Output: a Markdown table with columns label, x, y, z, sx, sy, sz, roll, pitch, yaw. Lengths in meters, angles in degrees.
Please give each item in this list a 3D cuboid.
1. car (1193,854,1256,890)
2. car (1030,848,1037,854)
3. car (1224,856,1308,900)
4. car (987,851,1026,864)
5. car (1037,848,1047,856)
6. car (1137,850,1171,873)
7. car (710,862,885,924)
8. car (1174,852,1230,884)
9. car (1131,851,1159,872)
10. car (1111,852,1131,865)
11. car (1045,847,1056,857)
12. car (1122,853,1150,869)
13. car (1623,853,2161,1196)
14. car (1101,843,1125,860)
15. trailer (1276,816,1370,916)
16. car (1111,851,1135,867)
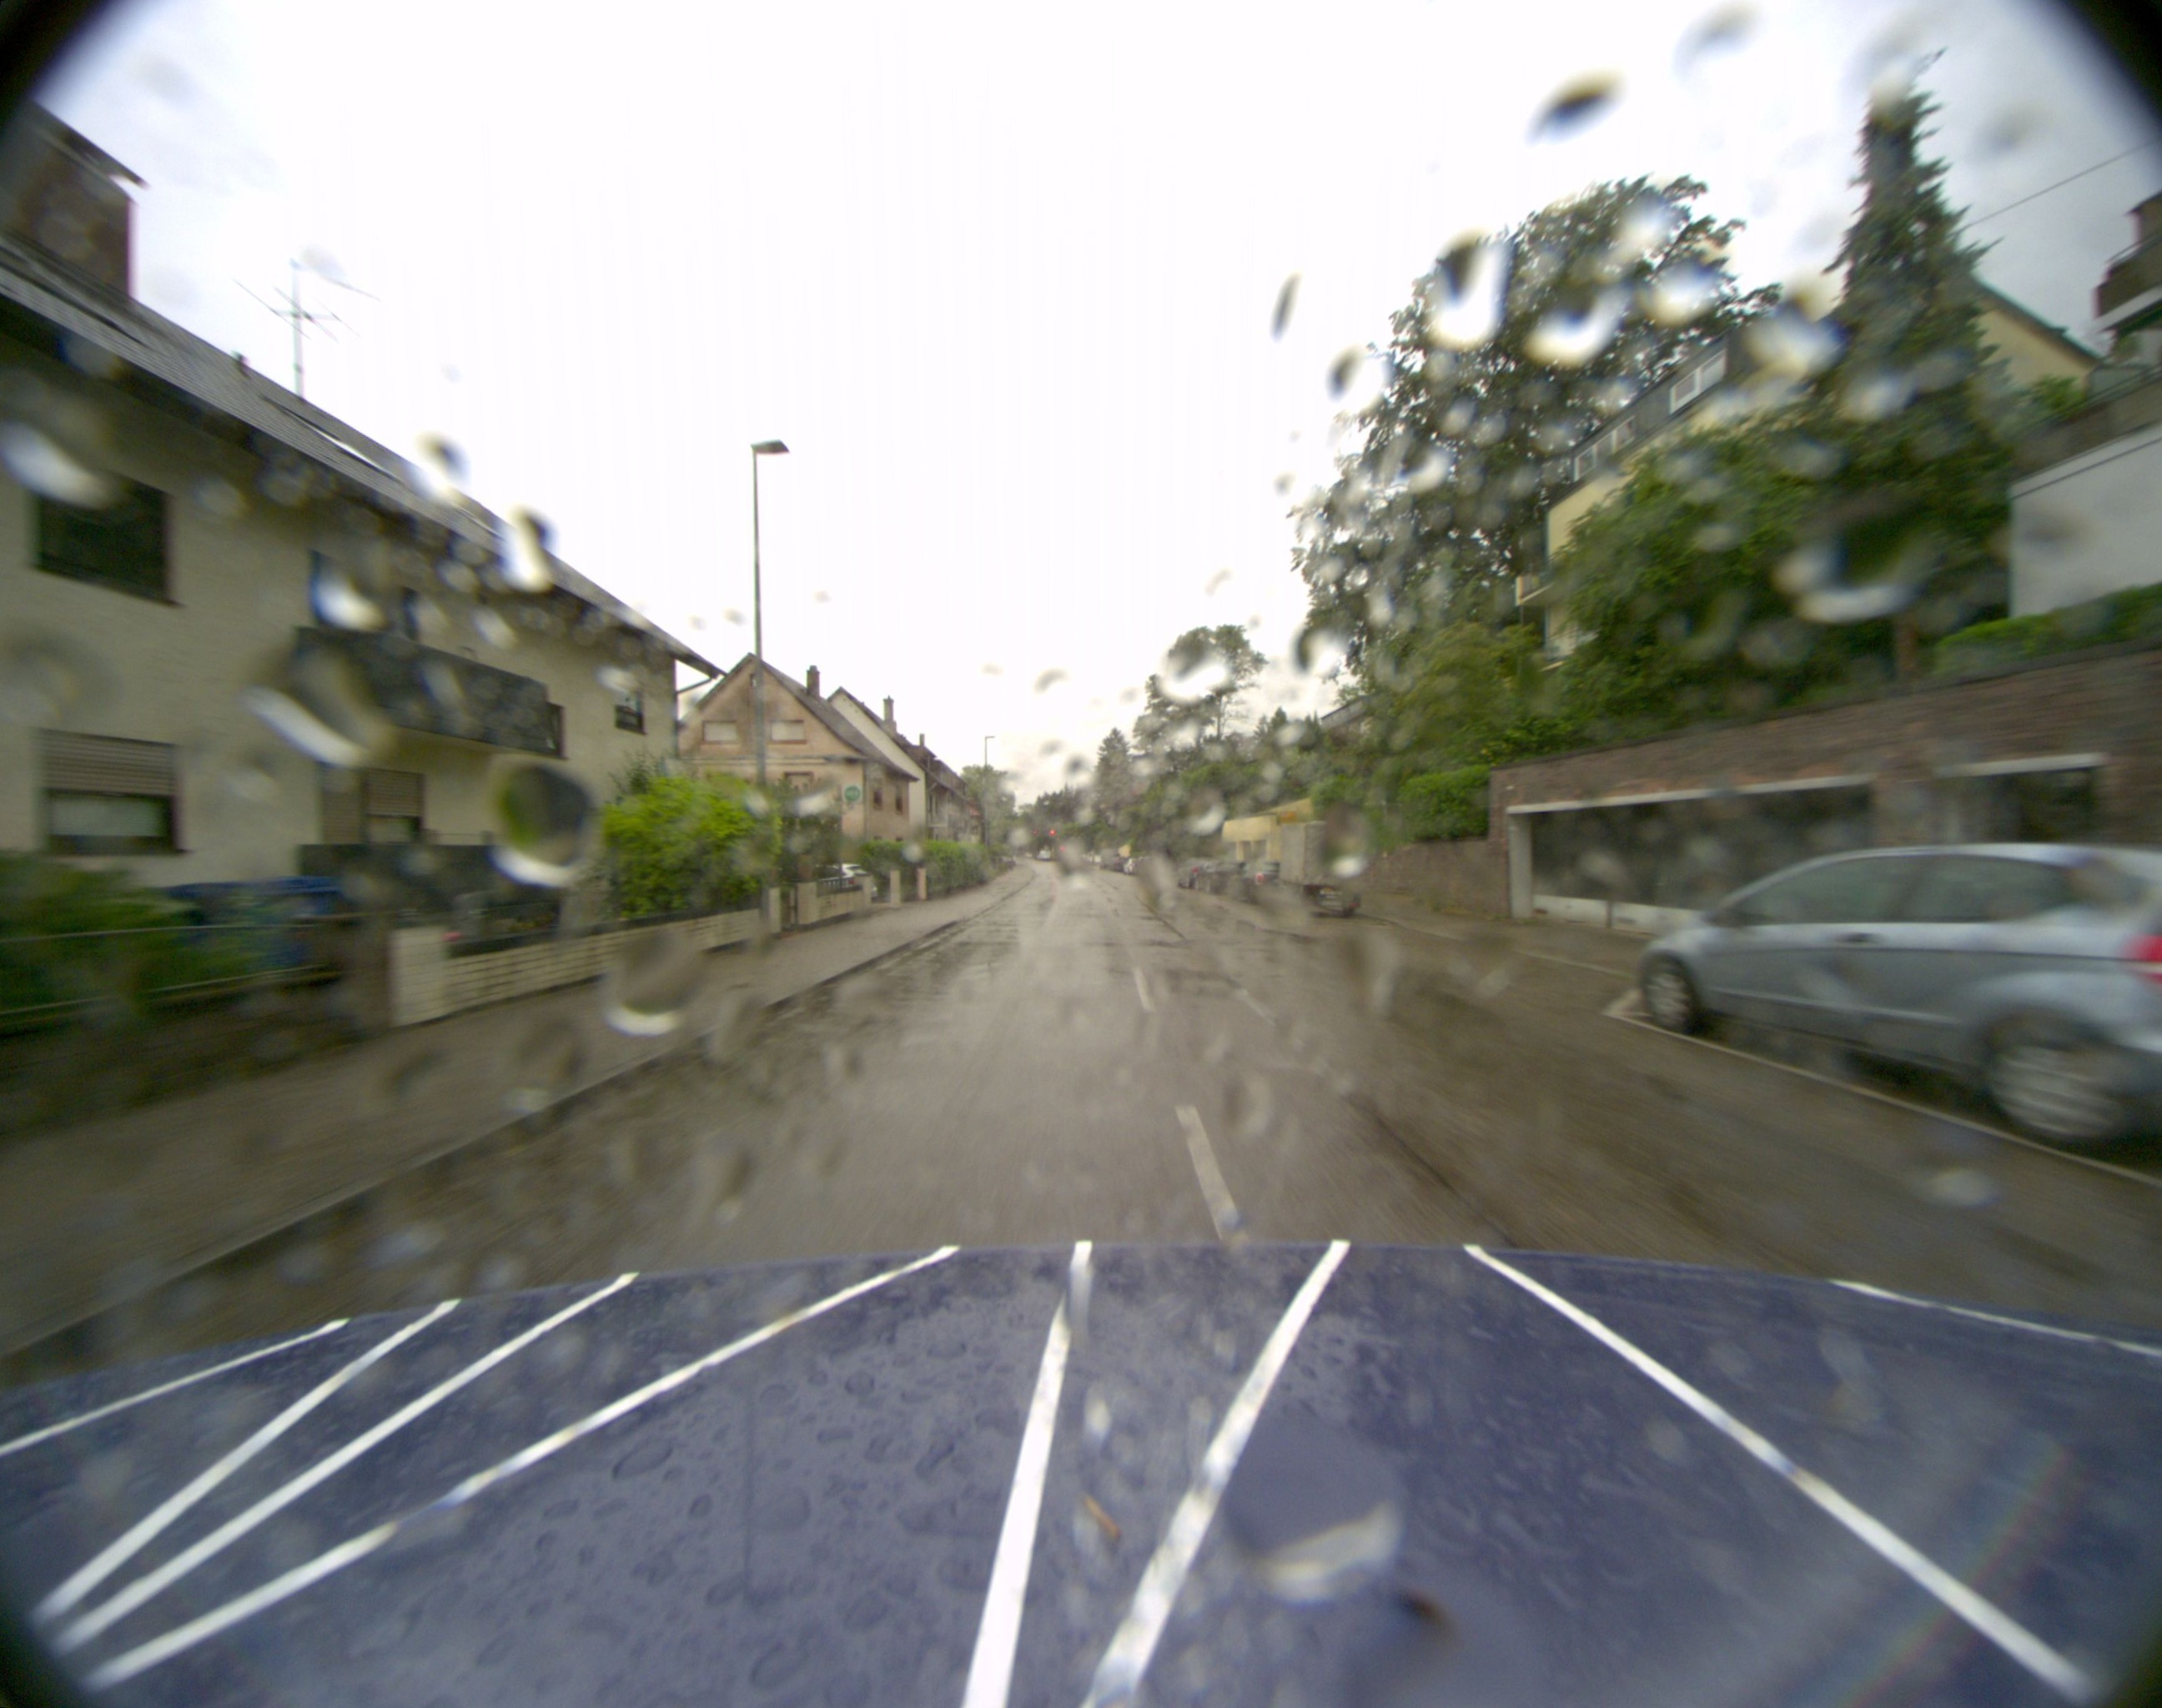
| label | x | y | z | sx | sy | sz | roll | pitch | yaw |
| --- | --- | --- | --- | --- | --- | --- | --- | --- | --- |
| car | 5.958 | 0.717 | 31.985 | 1.790 | 1.407 | 4.216 | 0 | 0 | -1 |
| car | -14.846 | -0.927 | 237.186 | 1.926 | 1.747 | 3.997 | -3 | 1 | -7 |
| car | 6.068 | 0.756 | 25.307 | 1.813 | 1.341 | 3.775 | 0 | 0 | -1 |
| car | -9.031 | 0.433 | 92.192 | 4.371 | 1.357 | 1.922 | -1 | 2 | 29 |
| car | -10.543 | -0.601 | 204.133 | 2.164 | 1.944 | 4.912 | 1 | 1 | -8 |
| car | 5.308 | 0.516 | 55.786 | 1.879 | 1.616 | 4.592 | 2 | 0 | -2 |
| car | -7.911 | 1.071 | 21.508 | 4.232 | 1.437 | 1.702 | -3 | 0 | -2 |
| car | 5.902 | 0.650 | 37.646 | 1.790 | 1.446 | 4.754 | 1 | 0 | -3 |
| car | 5.112 | 0.563 | 61.113 | 1.746 | 1.552 | 4.108 | 1 | 1 | -1 |
| car | 4.272 | 0.486 | 81.679 | 1.569 | 1.357 | 3.905 | 0 | 1 | -5 |
| car | -7.515 | -0.461 | 186.703 | 2.086 | 2.464 | 4.849 | 1 | 1 | -8 |
| car | 4.716 | 0.575 | 65.703 | 1.721 | 1.357 | 4.081 | 1 | 0 | -5 |
| car | 5.757 | 0.788 | 4.925 | 1.760 | 1.530 | 3.756 | 2 | 0 | 0 |
| car | 3.681 | -0.354 | 87.283 | 2.164 | 1.908 | 5.320 | 0 | 1 | -4 |
| trailer | 6.221 | 0.273 | 19.857 | 1.540 | 2.386 | 3.073 | 1 | 1 | 2 |
| car | 4.228 | 0.443 | 76.828 | 1.913 | 1.472 | 4.753 | 1 | 1 | -3 |
